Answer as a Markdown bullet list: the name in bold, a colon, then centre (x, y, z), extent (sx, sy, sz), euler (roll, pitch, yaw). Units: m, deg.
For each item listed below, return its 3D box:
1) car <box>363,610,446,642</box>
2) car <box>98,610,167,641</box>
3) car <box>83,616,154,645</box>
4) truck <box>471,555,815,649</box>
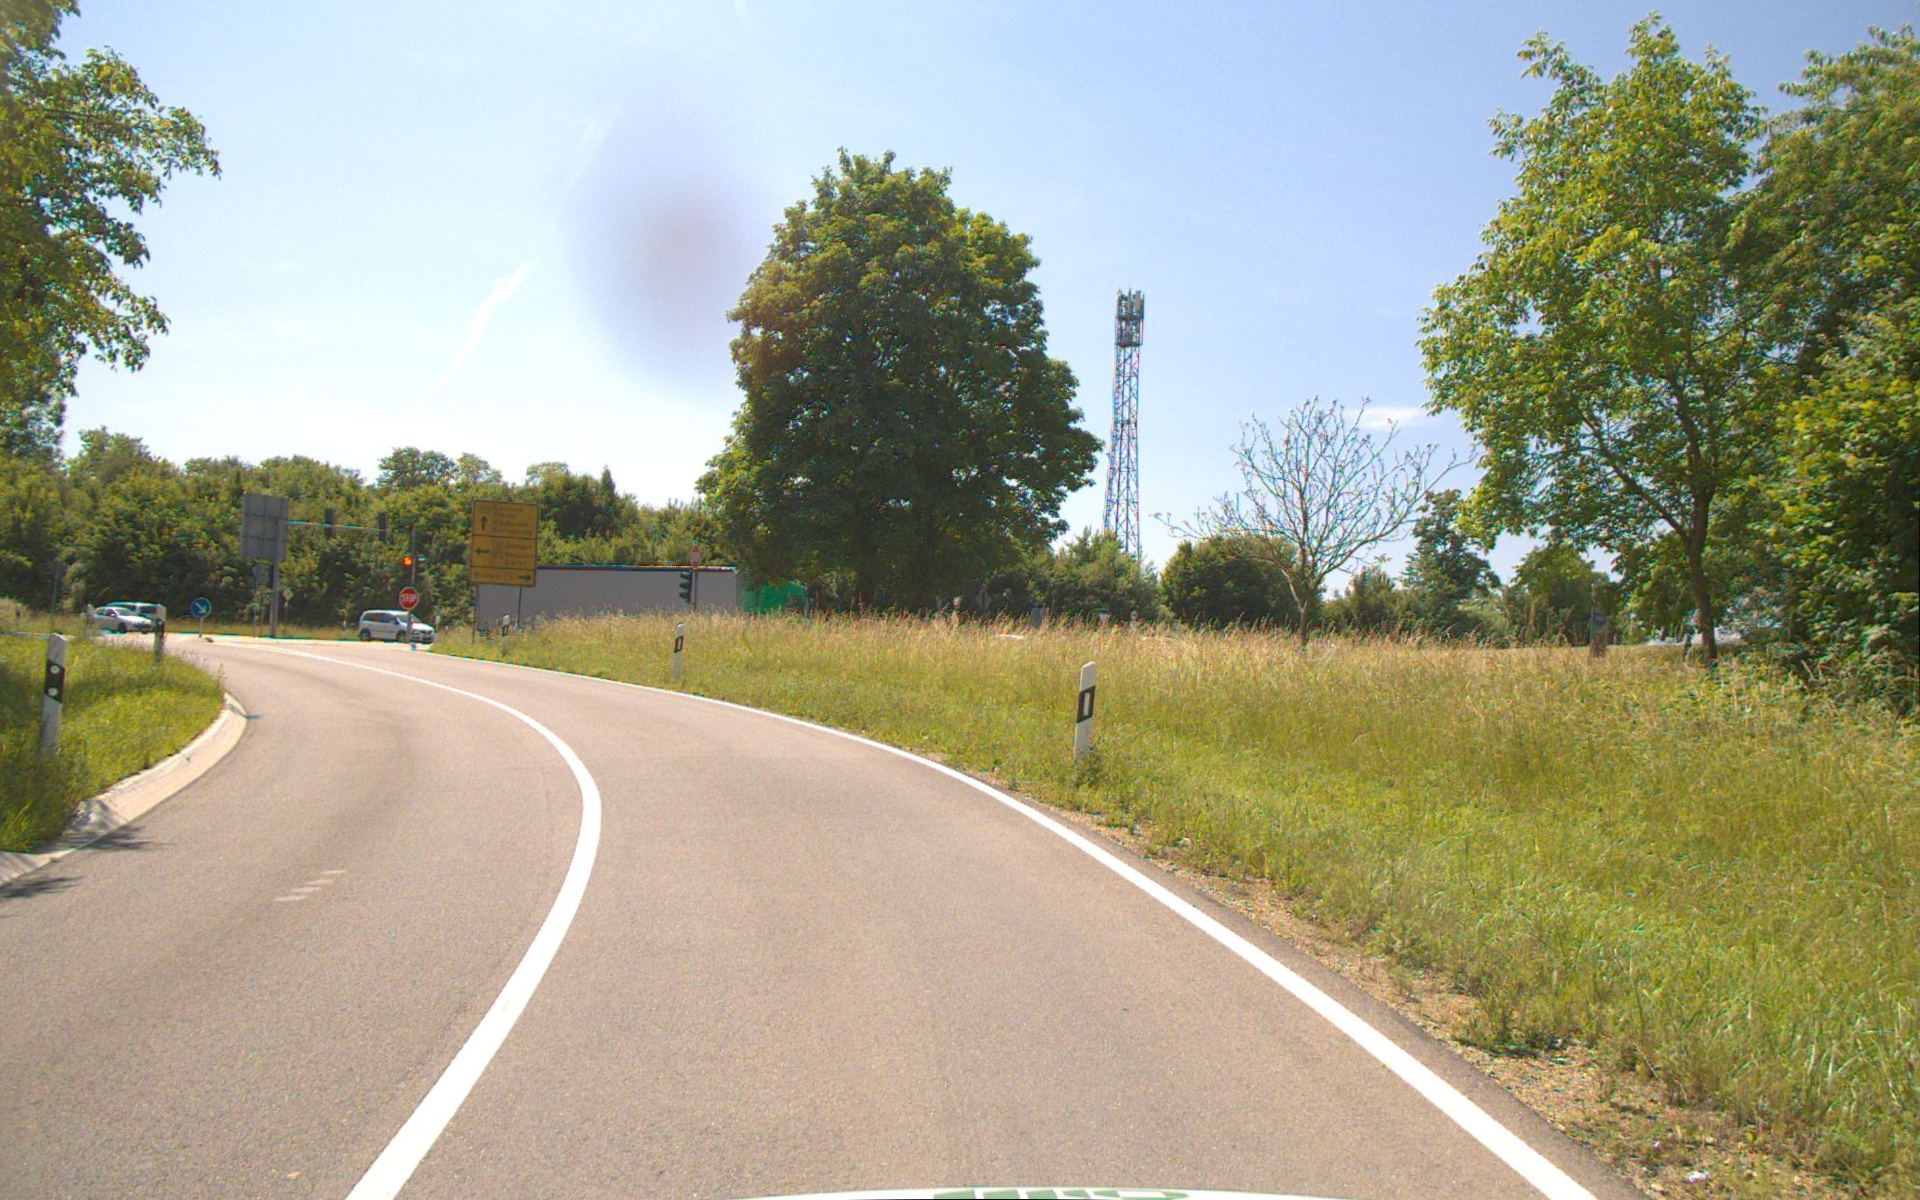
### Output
- **car**: centre (-28.072, 1.310, 83.628), extent (3.599, 1.603, 1.727), euler (0, 0, 15)
- **car**: centre (-48.809, 1.503, 97.567), extent (3.570, 1.735, 1.630), euler (-1, 1, 20)
- **car**: centre (-46.913, 1.684, 92.187), extent (3.827, 1.603, 1.657), euler (0, 0, 28)
- **truck**: centre (-15.195, 0.081, 79.102), extent (16.277, 4.246, 3.138), euler (1, -1, 13)
